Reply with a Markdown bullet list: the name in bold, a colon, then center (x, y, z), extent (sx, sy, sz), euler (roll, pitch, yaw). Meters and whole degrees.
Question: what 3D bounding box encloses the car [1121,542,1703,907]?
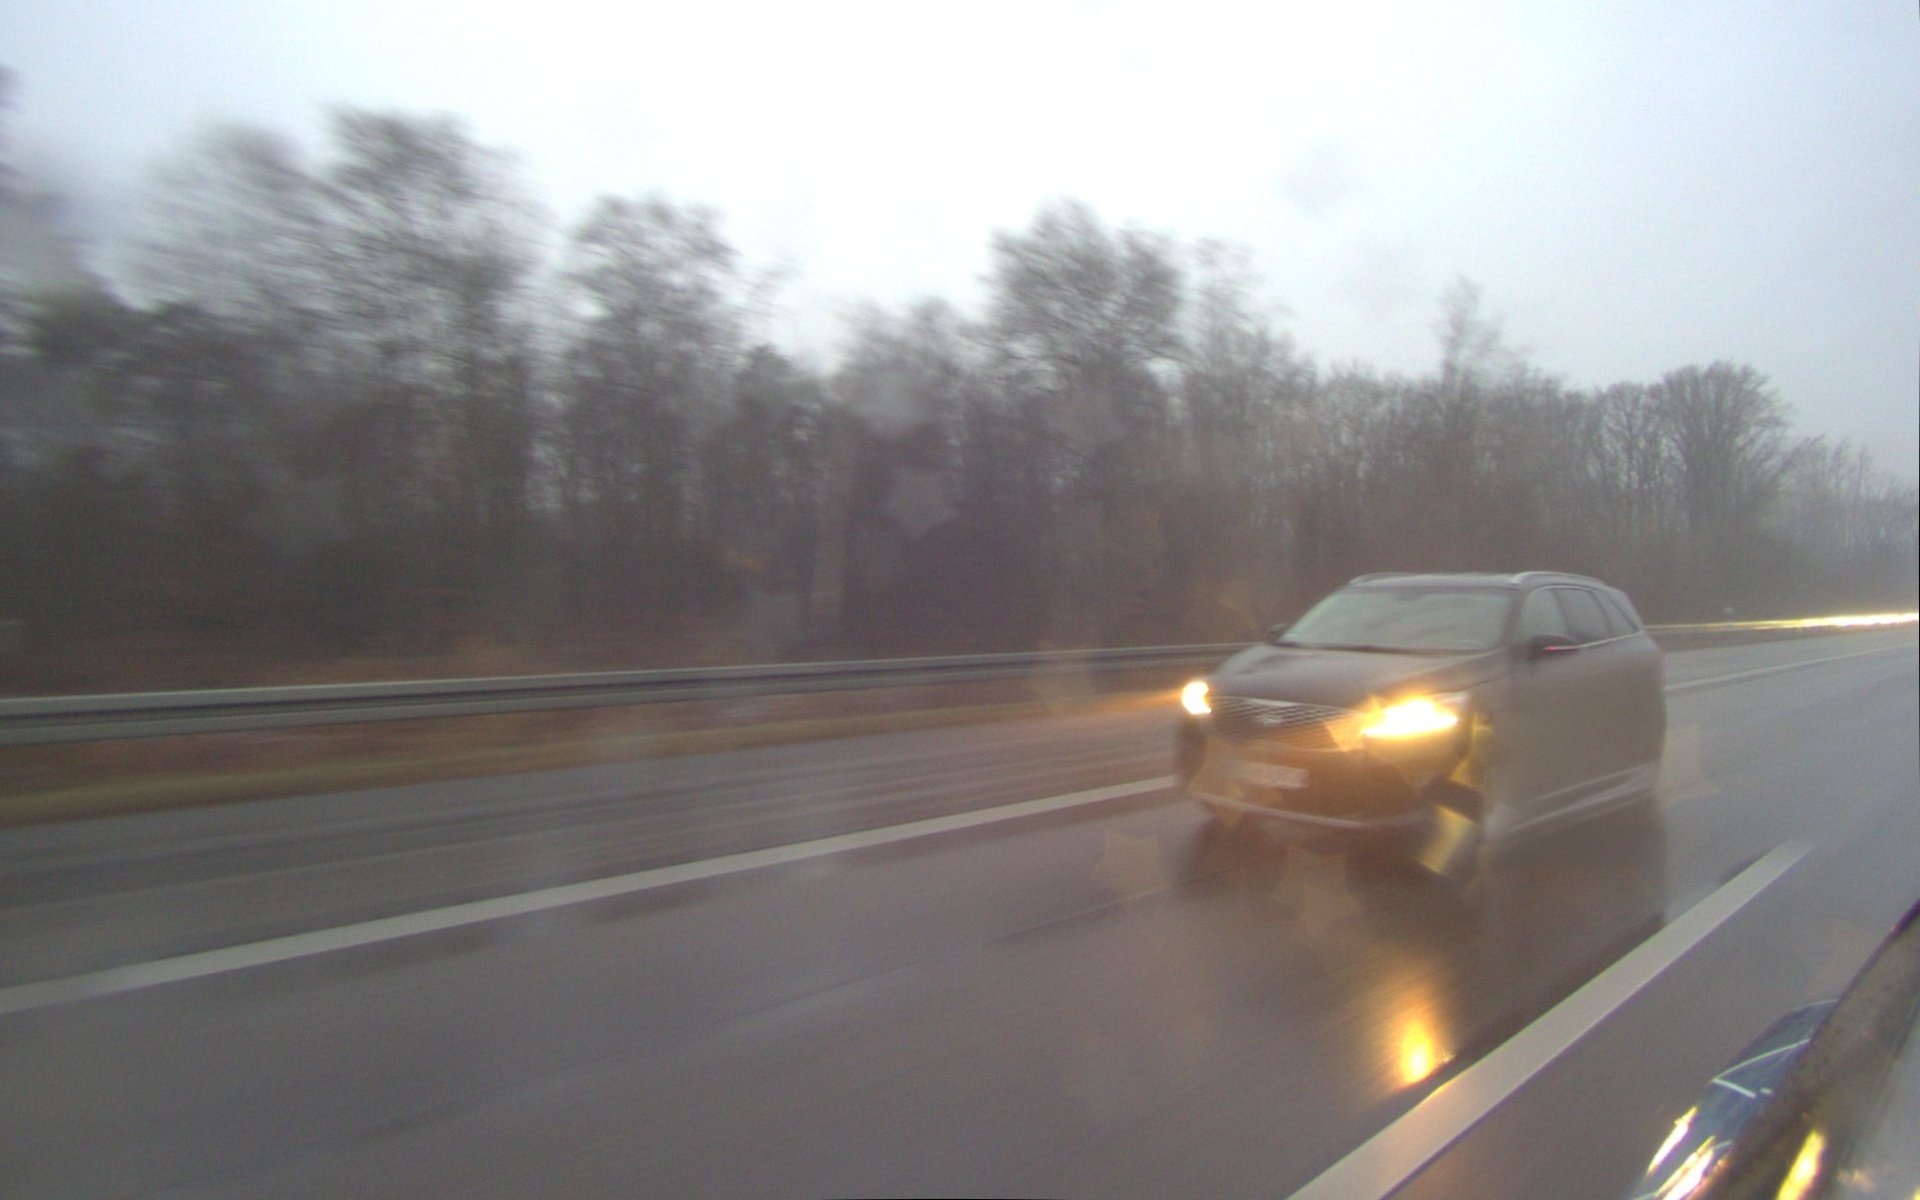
- **car**: center (3.322, 0.570, 7.008), extent (4.384, 1.719, 2.073), euler (0, 0, -42)
